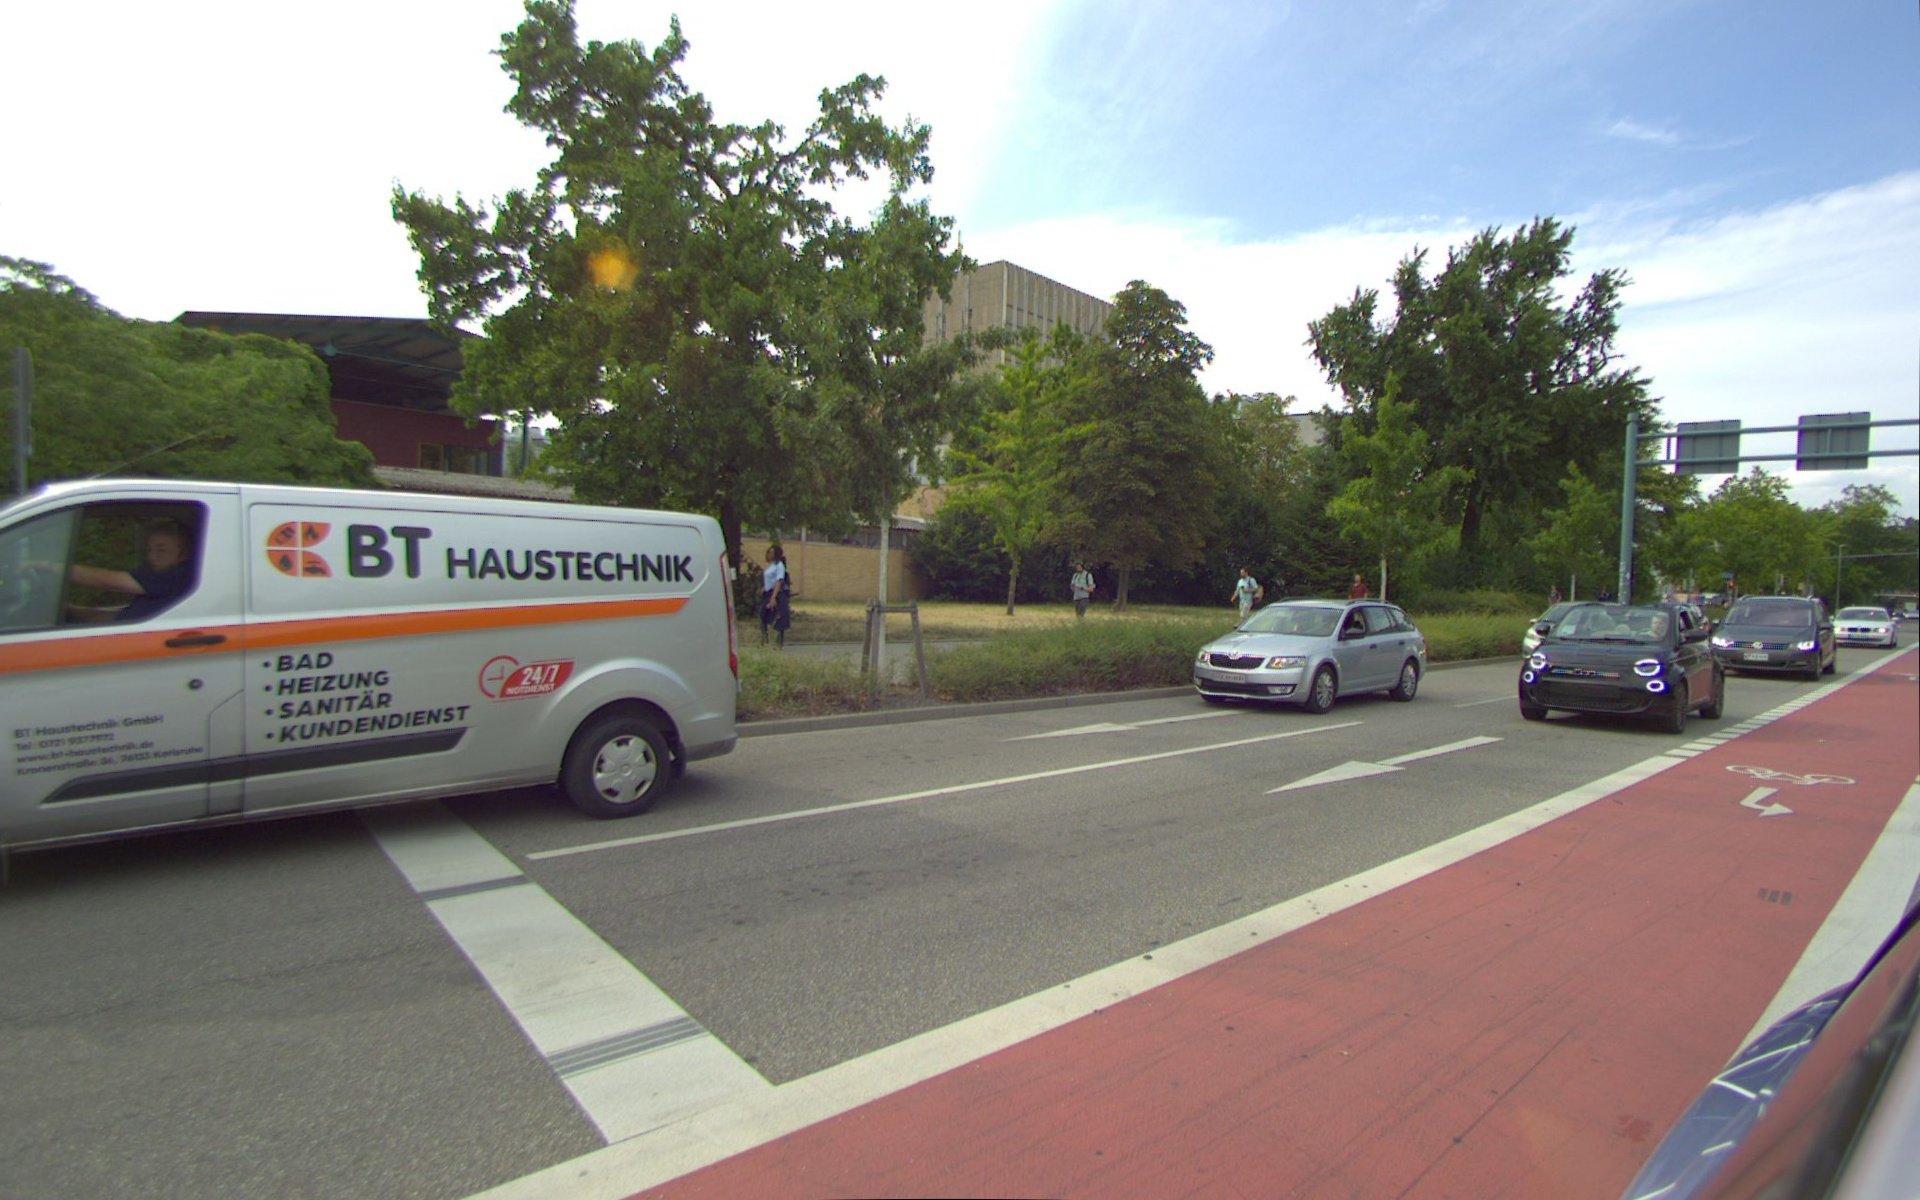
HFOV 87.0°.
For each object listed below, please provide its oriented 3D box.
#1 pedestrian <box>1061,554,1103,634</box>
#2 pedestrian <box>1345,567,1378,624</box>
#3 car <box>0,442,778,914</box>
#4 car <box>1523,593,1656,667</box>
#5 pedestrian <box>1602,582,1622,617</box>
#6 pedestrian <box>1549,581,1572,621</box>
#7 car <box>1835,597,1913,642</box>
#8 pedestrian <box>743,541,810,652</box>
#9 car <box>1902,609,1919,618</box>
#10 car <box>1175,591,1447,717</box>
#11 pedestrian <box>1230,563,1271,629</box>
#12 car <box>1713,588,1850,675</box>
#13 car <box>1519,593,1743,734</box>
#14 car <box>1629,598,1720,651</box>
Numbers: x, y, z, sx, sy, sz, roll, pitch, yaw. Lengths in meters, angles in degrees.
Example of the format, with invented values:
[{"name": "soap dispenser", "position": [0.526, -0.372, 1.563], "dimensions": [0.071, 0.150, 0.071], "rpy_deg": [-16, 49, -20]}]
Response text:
[{"name": "pedestrian", "position": [2.695, -0.137, 22.331], "dimensions": [0.543, 1.716, 0.684], "rpy_deg": [5, 3, 43]}, {"name": "pedestrian", "position": [12.410, -0.136, 31.277], "dimensions": [0.683, 1.732, 0.713], "rpy_deg": [0, 0, -44]}, {"name": "car", "position": [-3.709, 0.312, 5.827], "dimensions": [5.119, 1.984, 1.821], "rpy_deg": [0, 1, -44]}, {"name": "car", "position": [14.208, 0.597, 22.755], "dimensions": [3.811, 1.508, 1.667], "rpy_deg": [0, 1, -44]}, {"name": "pedestrian", "position": [32.826, -0.039, 50.961], "dimensions": [0.683, 1.732, 0.713], "rpy_deg": [0, 0, -44]}, {"name": "pedestrian", "position": [26.470, 0.026, 44.615], "dimensions": [0.683, 1.732, 0.713], "rpy_deg": [0, 0, -44]}, {"name": "car", "position": [32.220, 0.633, 35.633], "dimensions": [4.153, 1.476, 1.756], "rpy_deg": [0, 1, -44]}, {"name": "pedestrian", "position": [-2.958, -0.068, 16.311], "dimensions": [0.712, 1.732, 0.787], "rpy_deg": [0, 0, 43]}, {"name": "car", "position": [170.385, 2.399, 181.200], "dimensions": [3.929, 1.594, 1.997], "rpy_deg": [0, 1, -40]}, {"name": "car", "position": [5.071, 0.620, 14.260], "dimensions": [4.453, 1.493, 1.821], "rpy_deg": [0, 1, -44]}, {"name": "pedestrian", "position": [7.818, -0.119, 27.208], "dimensions": [0.839, 1.732, 0.684], "rpy_deg": [0, 0, 43]}, {"name": "car", "position": [17.812, 0.594, 21.863], "dimensions": [4.608, 1.671, 1.756], "rpy_deg": [0, 1, -44]}, {"name": "car", "position": [8.571, 0.676, 12.836], "dimensions": [3.384, 1.508, 1.668], "rpy_deg": [0, 1, -44]}, {"name": "car", "position": [20.930, 0.661, 29.587], "dimensions": [1.666, 1.433, 3.402], "rpy_deg": [1, 1, 44]}]
